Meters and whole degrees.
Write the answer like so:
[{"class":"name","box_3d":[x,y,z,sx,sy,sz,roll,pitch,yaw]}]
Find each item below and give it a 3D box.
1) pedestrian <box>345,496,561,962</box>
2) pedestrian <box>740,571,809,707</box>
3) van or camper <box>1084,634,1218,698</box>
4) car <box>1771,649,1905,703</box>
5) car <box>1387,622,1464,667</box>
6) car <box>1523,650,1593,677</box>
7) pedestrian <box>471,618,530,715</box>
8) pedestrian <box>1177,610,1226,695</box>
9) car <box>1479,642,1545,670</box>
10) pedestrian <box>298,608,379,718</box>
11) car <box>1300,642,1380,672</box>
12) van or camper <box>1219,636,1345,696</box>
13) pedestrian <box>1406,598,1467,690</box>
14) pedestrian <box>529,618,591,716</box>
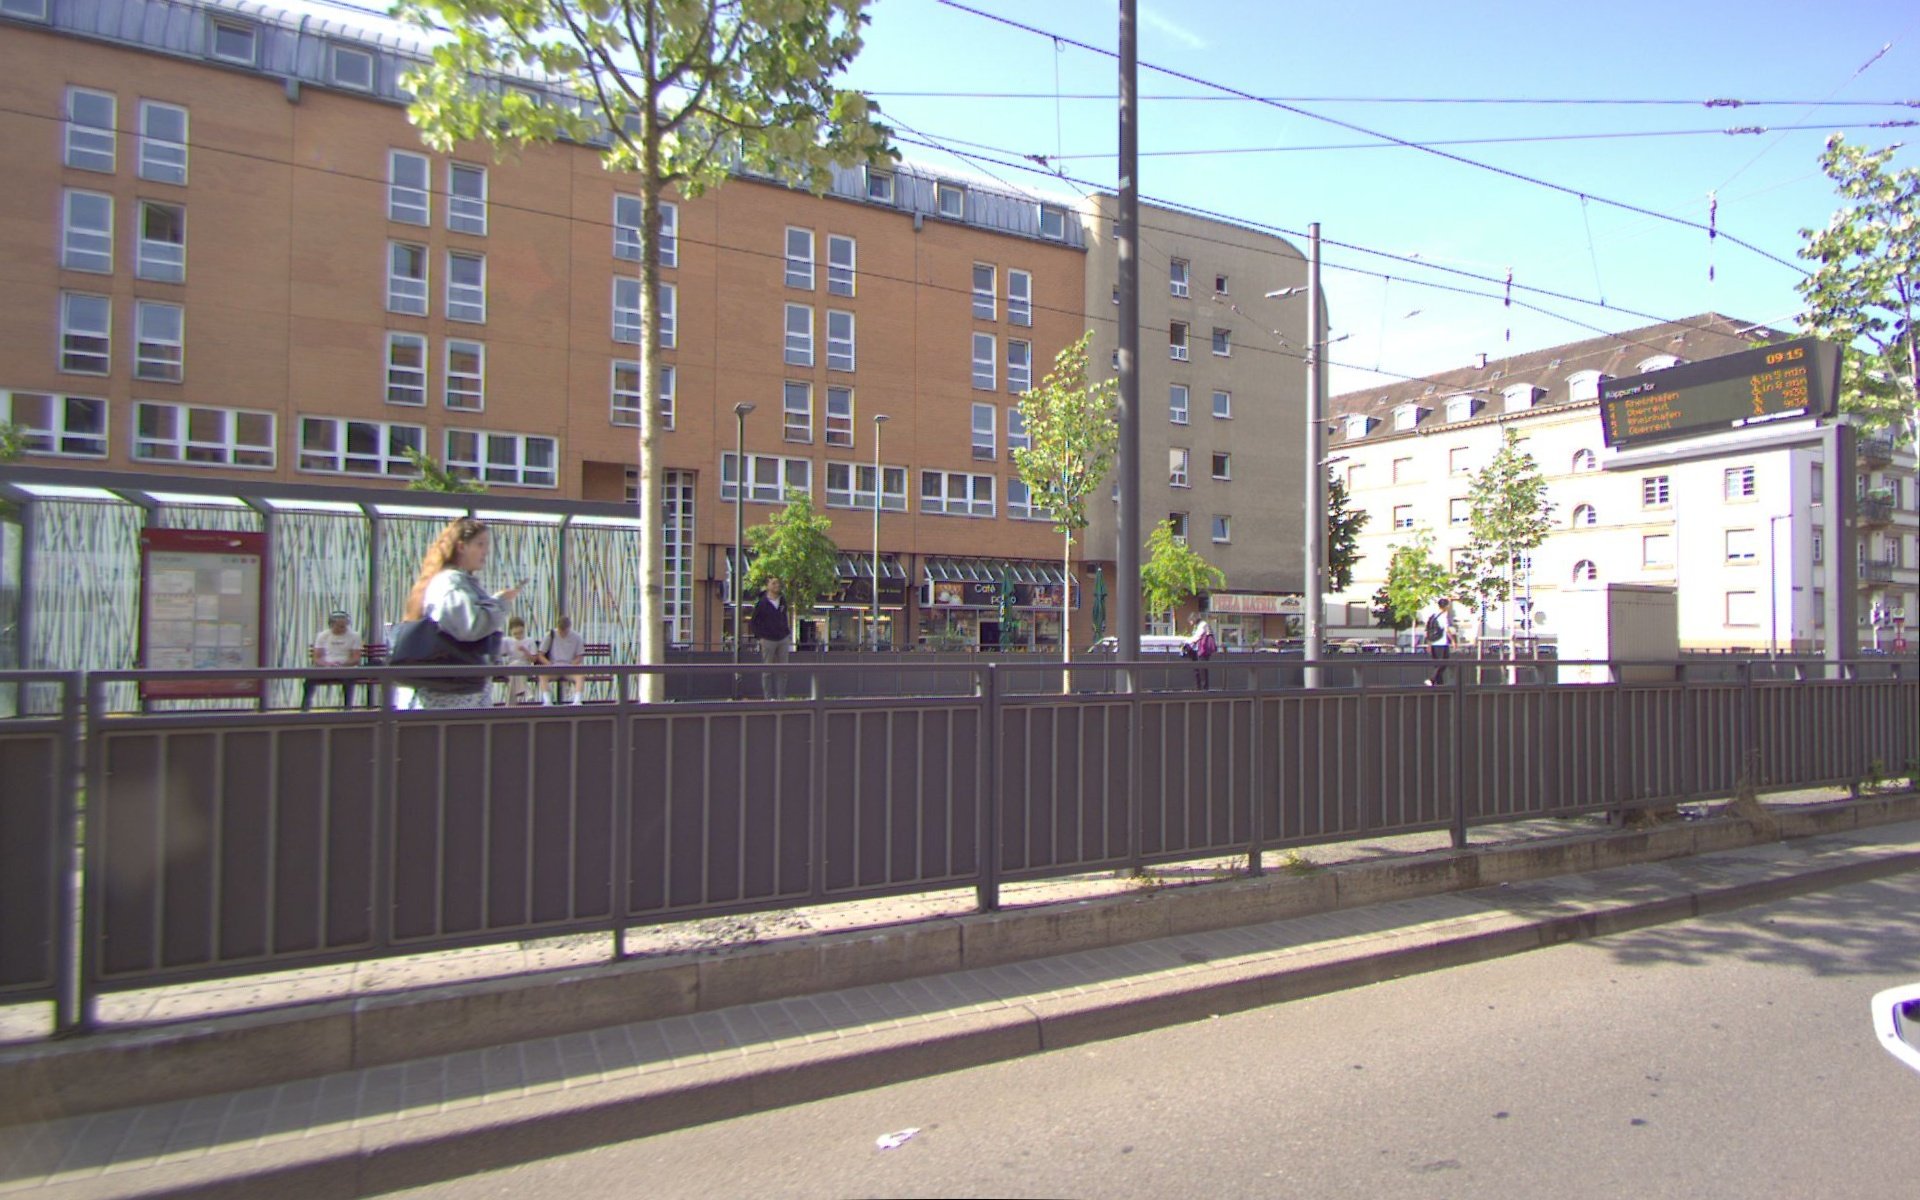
[{"class":"pedestrian","box_3d":[-2.155,0.500,4.303,0.718,1.781,0.671,2,0,-27]},{"class":"pedestrian","box_3d":[-2.695,0.564,14.617,0.801,1.911,0.548,2,-2,-41]},{"class":"van or camper","box_3d":[6.345,2.155,33.439,3.941,2.040,1.990,1,-2,-22]},{"class":"car","box_3d":[32.044,2.727,36.654,4.569,1.829,1.988,1,-2,-25]},{"class":"car","box_3d":[28.482,2.723,61.432,5.001,2.617,1.982,2,-2,-34]},{"class":"car","box_3d":[32.670,3.449,54.836,3.956,1.424,1.664,2,-2,-32]},{"class":"pedestrian","box_3d":[-6.173,0.884,13.486,0.666,1.262,0.789,1,-3,-27]},{"class":"pedestrian","box_3d":[4.516,0.974,18.751,0.666,1.551,0.810,0,-2,33]},{"class":"car","box_3d":[31.740,3.188,57.758,3.882,1.553,1.664,2,-2,-32]},{"class":"pedestrian","box_3d":[-7.858,0.788,12.732,0.799,1.331,0.865,1,-2,-29]},{"class":"car","box_3d":[20.320,3.013,53.726,3.951,1.528,1.985,2,-2,-29]},{"class":"van or camper","box_3d":[11.325,2.286,35.389,3.942,1.994,1.926,1,-2,-22]},{"class":"pedestrian","box_3d":[10.034,0.927,21.167,0.926,1.896,0.737,1,-2,-24]},{"class":"pedestrian","box_3d":[-5.422,0.897,13.603,0.666,1.261,1.149,1,-3,-27]}]
